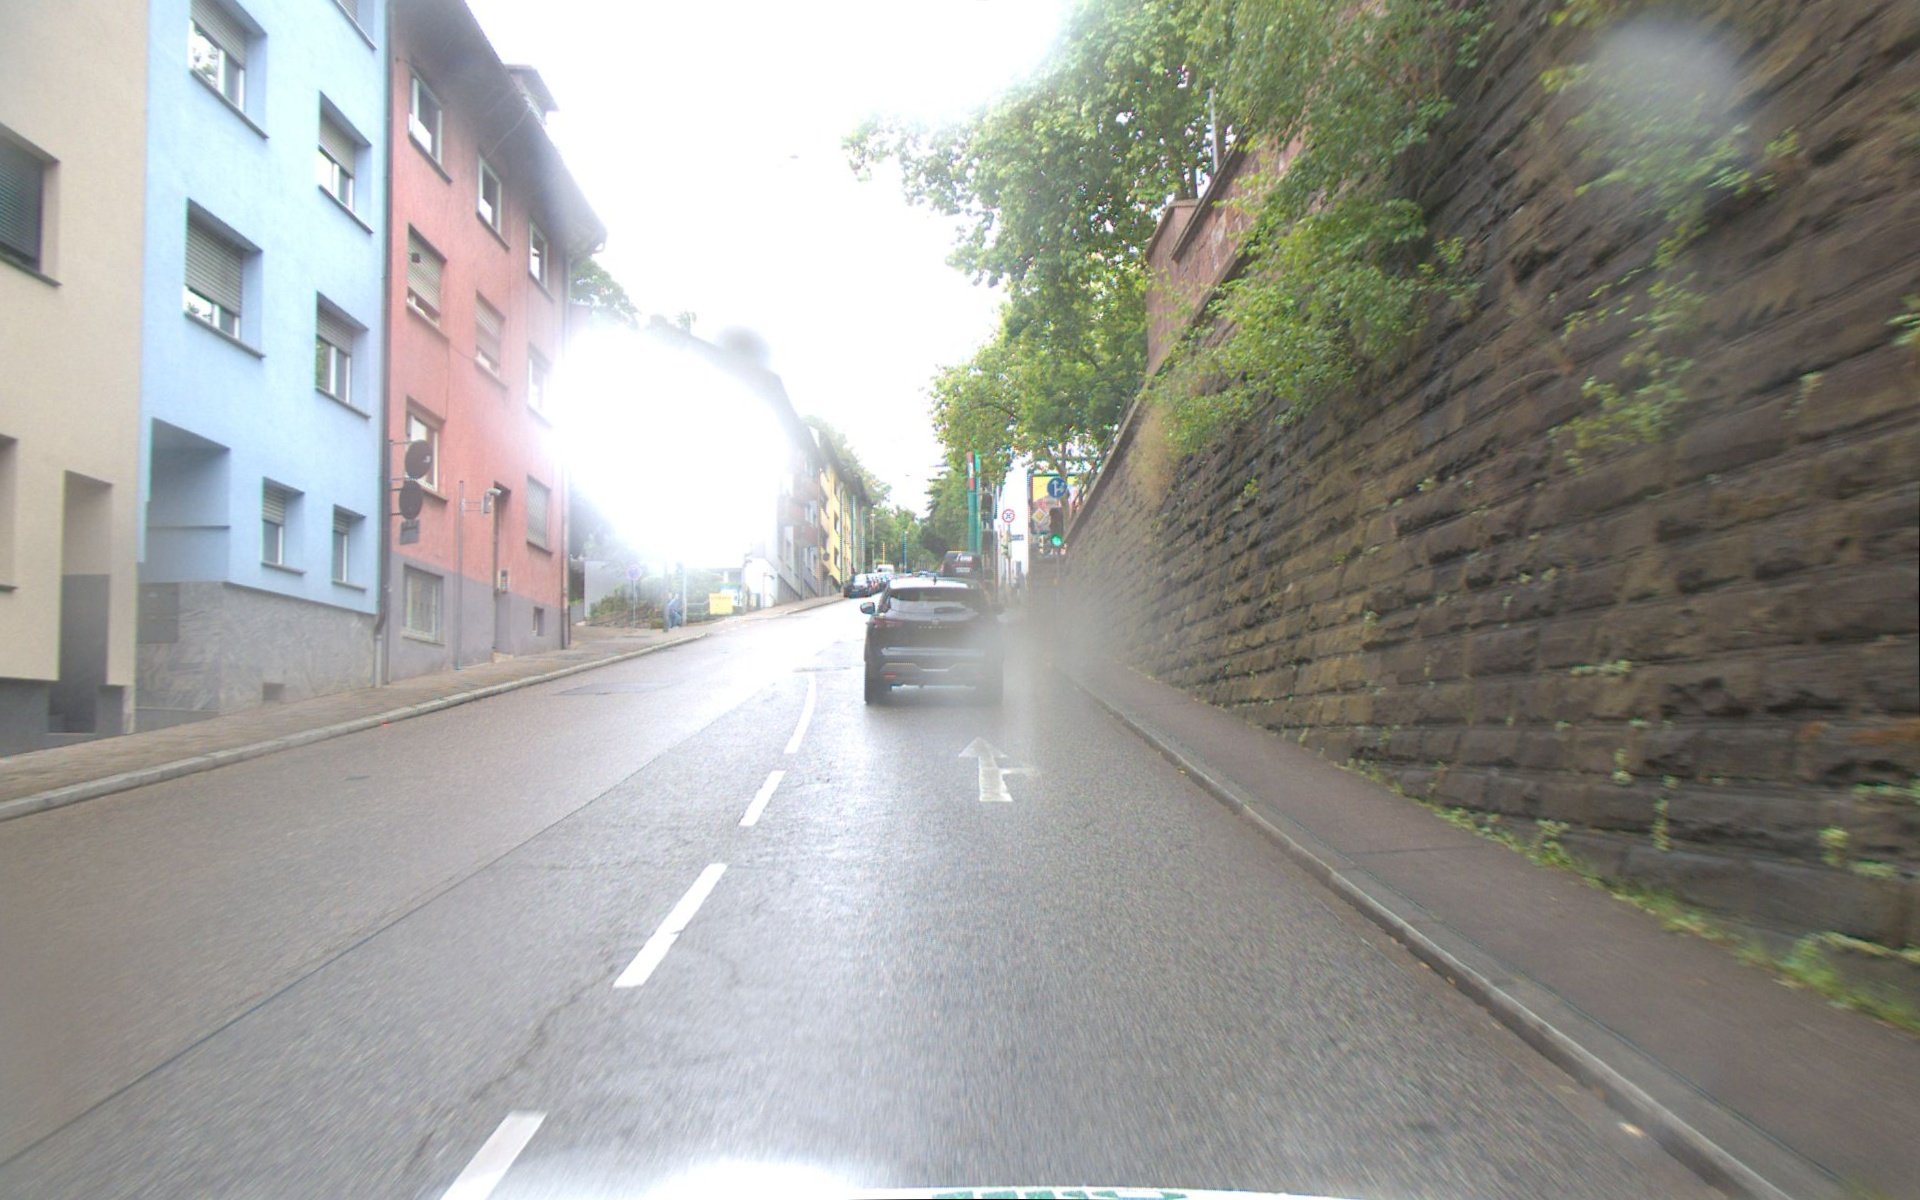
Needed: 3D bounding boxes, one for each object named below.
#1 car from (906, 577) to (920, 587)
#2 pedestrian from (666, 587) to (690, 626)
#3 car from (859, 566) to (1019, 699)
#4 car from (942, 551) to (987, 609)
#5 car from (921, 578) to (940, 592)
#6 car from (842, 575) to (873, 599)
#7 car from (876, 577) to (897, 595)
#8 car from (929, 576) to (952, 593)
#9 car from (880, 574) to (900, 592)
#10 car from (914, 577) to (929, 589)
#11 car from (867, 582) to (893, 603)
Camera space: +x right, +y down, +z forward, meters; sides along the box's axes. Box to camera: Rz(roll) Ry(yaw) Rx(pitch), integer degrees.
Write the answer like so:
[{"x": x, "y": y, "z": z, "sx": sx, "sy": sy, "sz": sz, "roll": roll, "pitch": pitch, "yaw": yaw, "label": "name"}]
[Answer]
[{"x": -7.011, "y": -2.684, "z": 247.097, "sx": 2.033, "sy": 1.586, "sz": 3.999, "roll": 0, "pitch": 1, "yaw": -2, "label": "car"}, {"x": -11.679, "y": 0.278, "z": 68.477, "sx": 0.852, "sy": 1.568, "sz": 1.086, "roll": 1, "pitch": -1, "yaw": -4, "label": "pedestrian"}, {"x": -0.287, "y": 0.362, "z": 22.402, "sx": 1.953, "sy": 1.586, "sz": 4.000, "roll": 1, "pitch": 1, "yaw": -1, "label": "car"}, {"x": 0.239, "y": -0.876, "z": 76.096, "sx": 1.952, "sy": 2.456, "sz": 5.836, "roll": 1, "pitch": -1, "yaw": 1, "label": "car"}, {"x": -3.405, "y": -1.705, "z": 190.184, "sx": 2.033, "sy": 1.586, "sz": 3.999, "roll": 0, "pitch": 1, "yaw": -2, "label": "car"}, {"x": -7.624, "y": -0.979, "z": 123.365, "sx": 1.952, "sy": 1.678, "sz": 4.443, "roll": -1, "pitch": 1, "yaw": 1, "label": "car"}, {"x": -7.211, "y": -1.398, "z": 163.141, "sx": 1.950, "sy": 1.612, "sz": 4.304, "roll": -1, "pitch": 1, "yaw": -2, "label": "car"}, {"x": -1.793, "y": -1.431, "z": 152.905, "sx": 2.033, "sy": 1.586, "sz": 3.999, "roll": 0, "pitch": 1, "yaw": -2, "label": "car"}, {"x": -7.187, "y": -1.727, "z": 170.286, "sx": 1.950, "sy": 1.786, "sz": 4.479, "roll": -1, "pitch": 1, "yaw": -2, "label": "car"}, {"x": -5.091, "y": -2.294, "z": 219.043, "sx": 2.033, "sy": 1.586, "sz": 3.999, "roll": 0, "pitch": 1, "yaw": -2, "label": "car"}, {"x": -7.017, "y": -0.684, "z": 146.253, "sx": 1.952, "sy": 1.678, "sz": 4.443, "roll": -1, "pitch": 1, "yaw": 1, "label": "car"}]
